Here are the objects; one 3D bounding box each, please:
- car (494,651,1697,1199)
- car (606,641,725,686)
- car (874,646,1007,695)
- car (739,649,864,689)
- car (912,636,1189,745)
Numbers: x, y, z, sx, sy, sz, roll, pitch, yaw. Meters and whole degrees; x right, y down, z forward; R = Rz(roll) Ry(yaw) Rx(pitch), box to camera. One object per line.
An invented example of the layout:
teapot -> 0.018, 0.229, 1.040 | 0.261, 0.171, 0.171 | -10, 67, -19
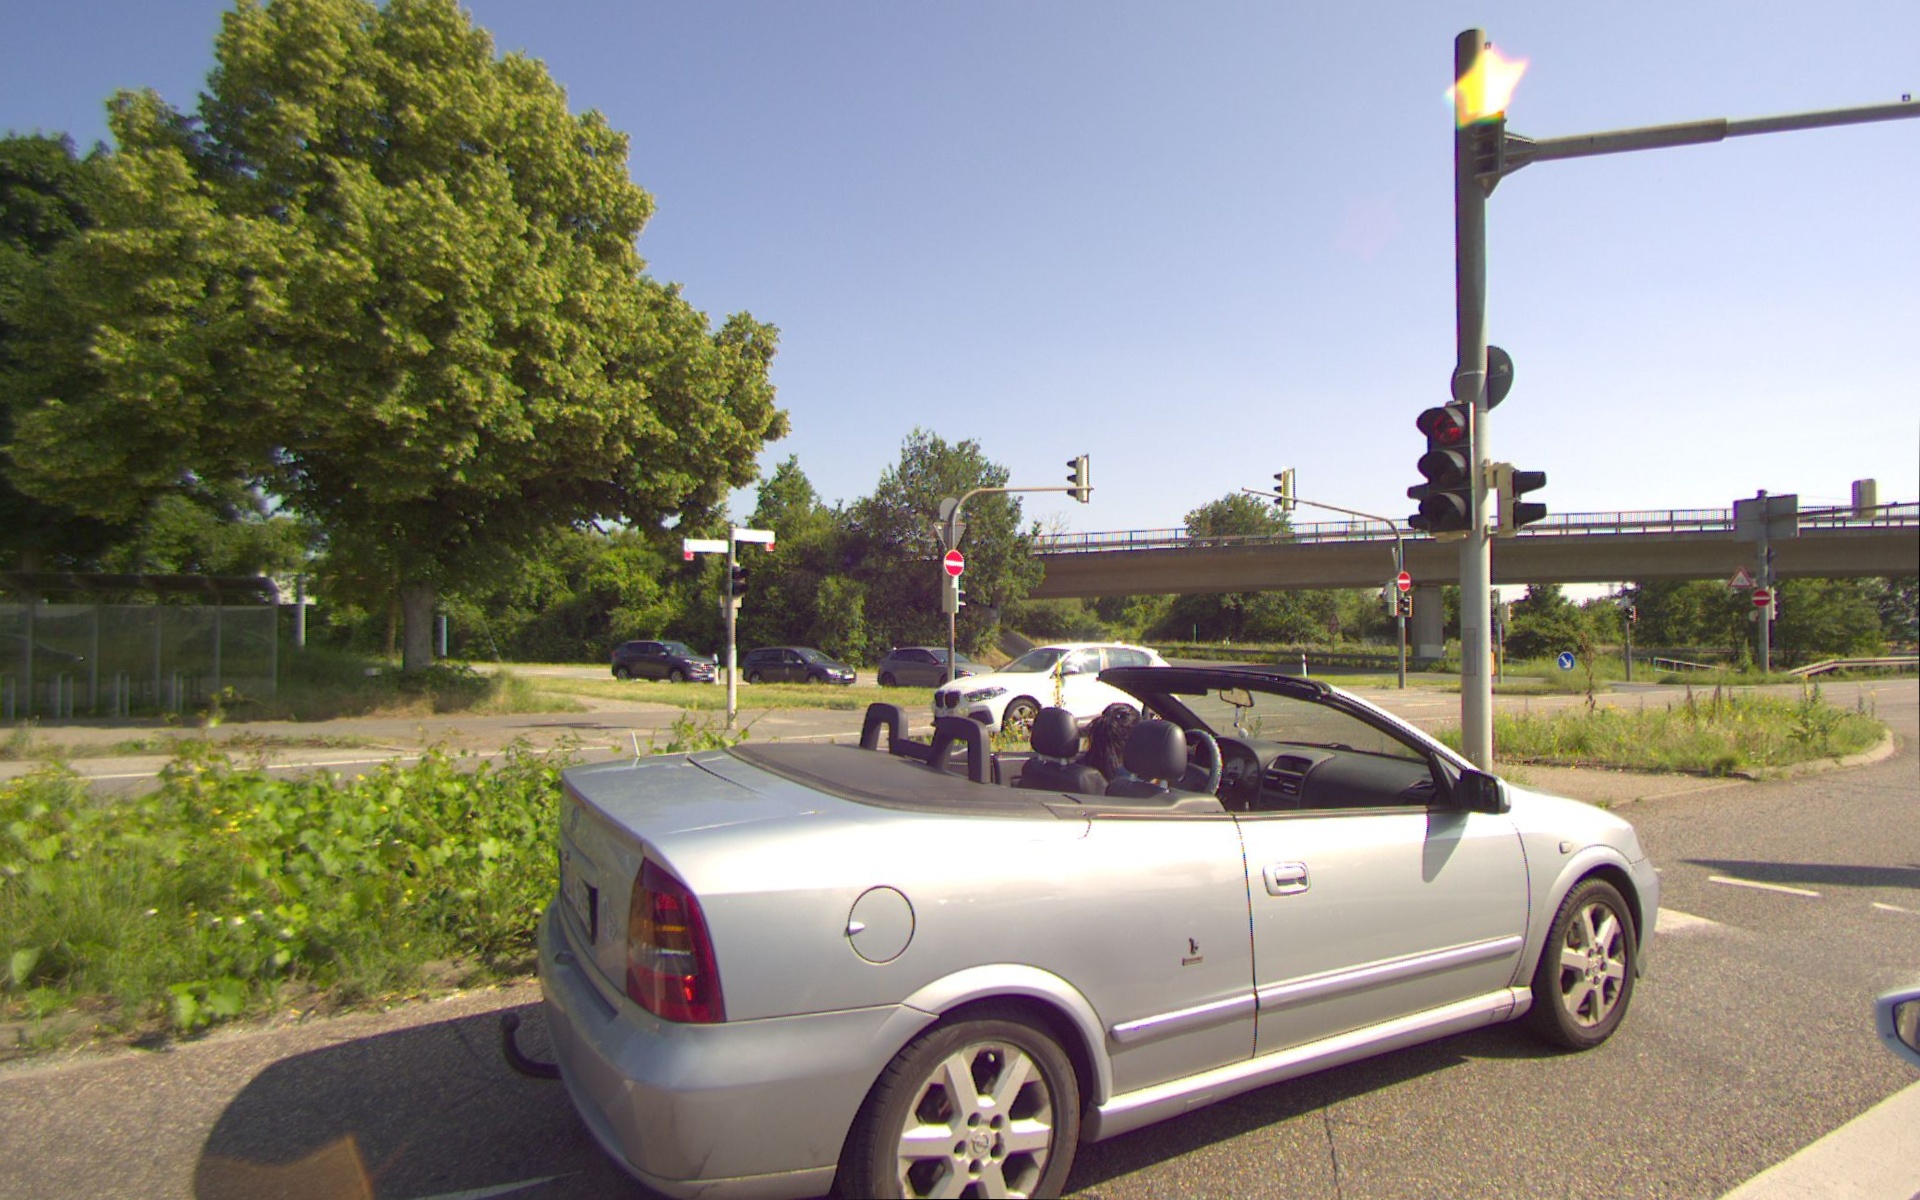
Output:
car -> 0.652, 0.879, 3.552 | 4.049, 1.352, 1.666 | 1, -2, -30
car -> -11.093, 2.358, 37.770 | 4.272, 1.616, 1.650 | -1, -2, 25
car -> -0.660, 2.214, 32.134 | 4.066, 1.443, 1.862 | -2, -3, 41
car -> -5.575, 2.394, 35.221 | 4.276, 1.297, 1.648 | -1, -2, 30
car -> 1.480, 1.387, 16.032 | 4.101, 1.534, 1.874 | 1, -5, -31
